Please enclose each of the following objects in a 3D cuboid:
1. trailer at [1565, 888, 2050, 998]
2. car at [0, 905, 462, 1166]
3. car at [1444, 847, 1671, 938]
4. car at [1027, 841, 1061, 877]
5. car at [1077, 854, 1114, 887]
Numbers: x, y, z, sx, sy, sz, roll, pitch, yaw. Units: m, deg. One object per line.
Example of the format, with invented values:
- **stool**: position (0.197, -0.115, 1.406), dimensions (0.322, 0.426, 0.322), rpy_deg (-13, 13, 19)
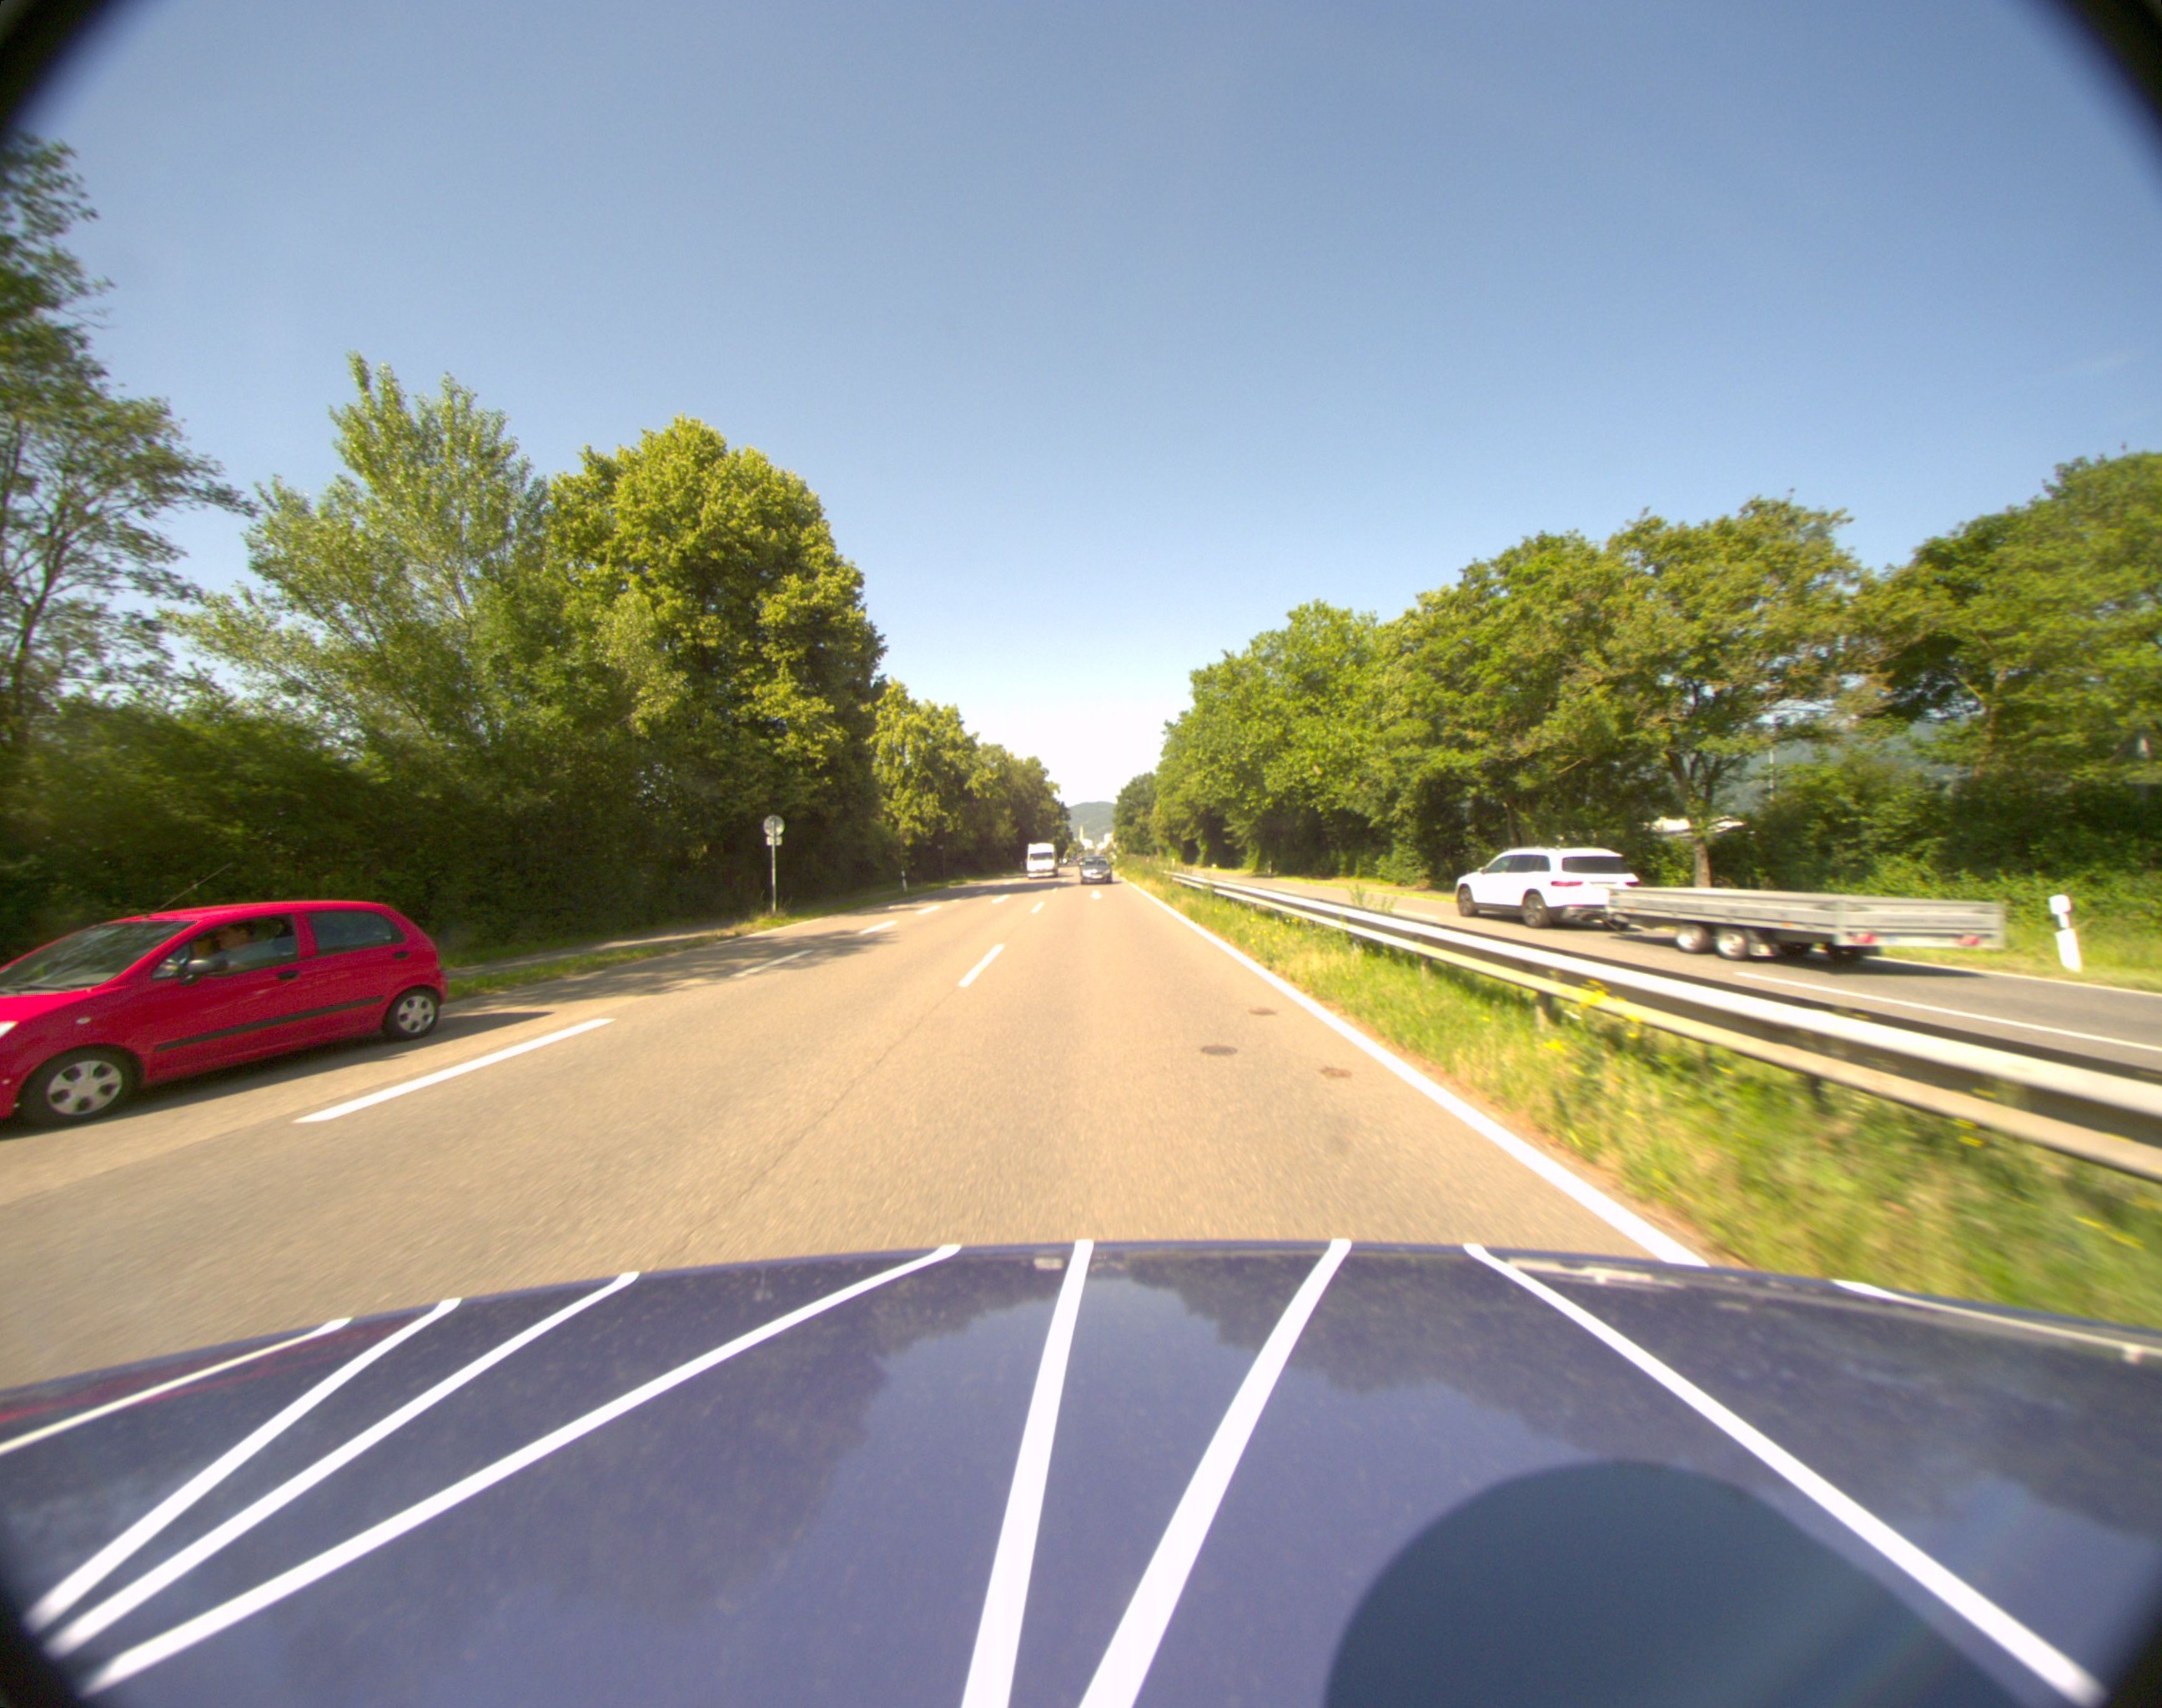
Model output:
- **trailer**: position (10.053, 1.139, 11.453), dimensions (1.969, 0.955, 5.597), rpy_deg (1, 0, 1)
- **car**: position (-7.652, 1.338, 6.422), dimensions (1.548, 1.445, 3.570), rpy_deg (-4, 0, 7)
- **car**: position (10.113, 0.719, 16.713), dimensions (1.998, 1.690, 4.813), rpy_deg (1, 0, 1)
- **car**: position (-2.633, 0.287, 55.258), dimensions (1.998, 2.433, 5.088), rpy_deg (-3, 1, 1)
- **car**: position (0.726, 0.778, 38.051), dimensions (1.678, 1.435, 4.361), rpy_deg (-3, 0, 1)
